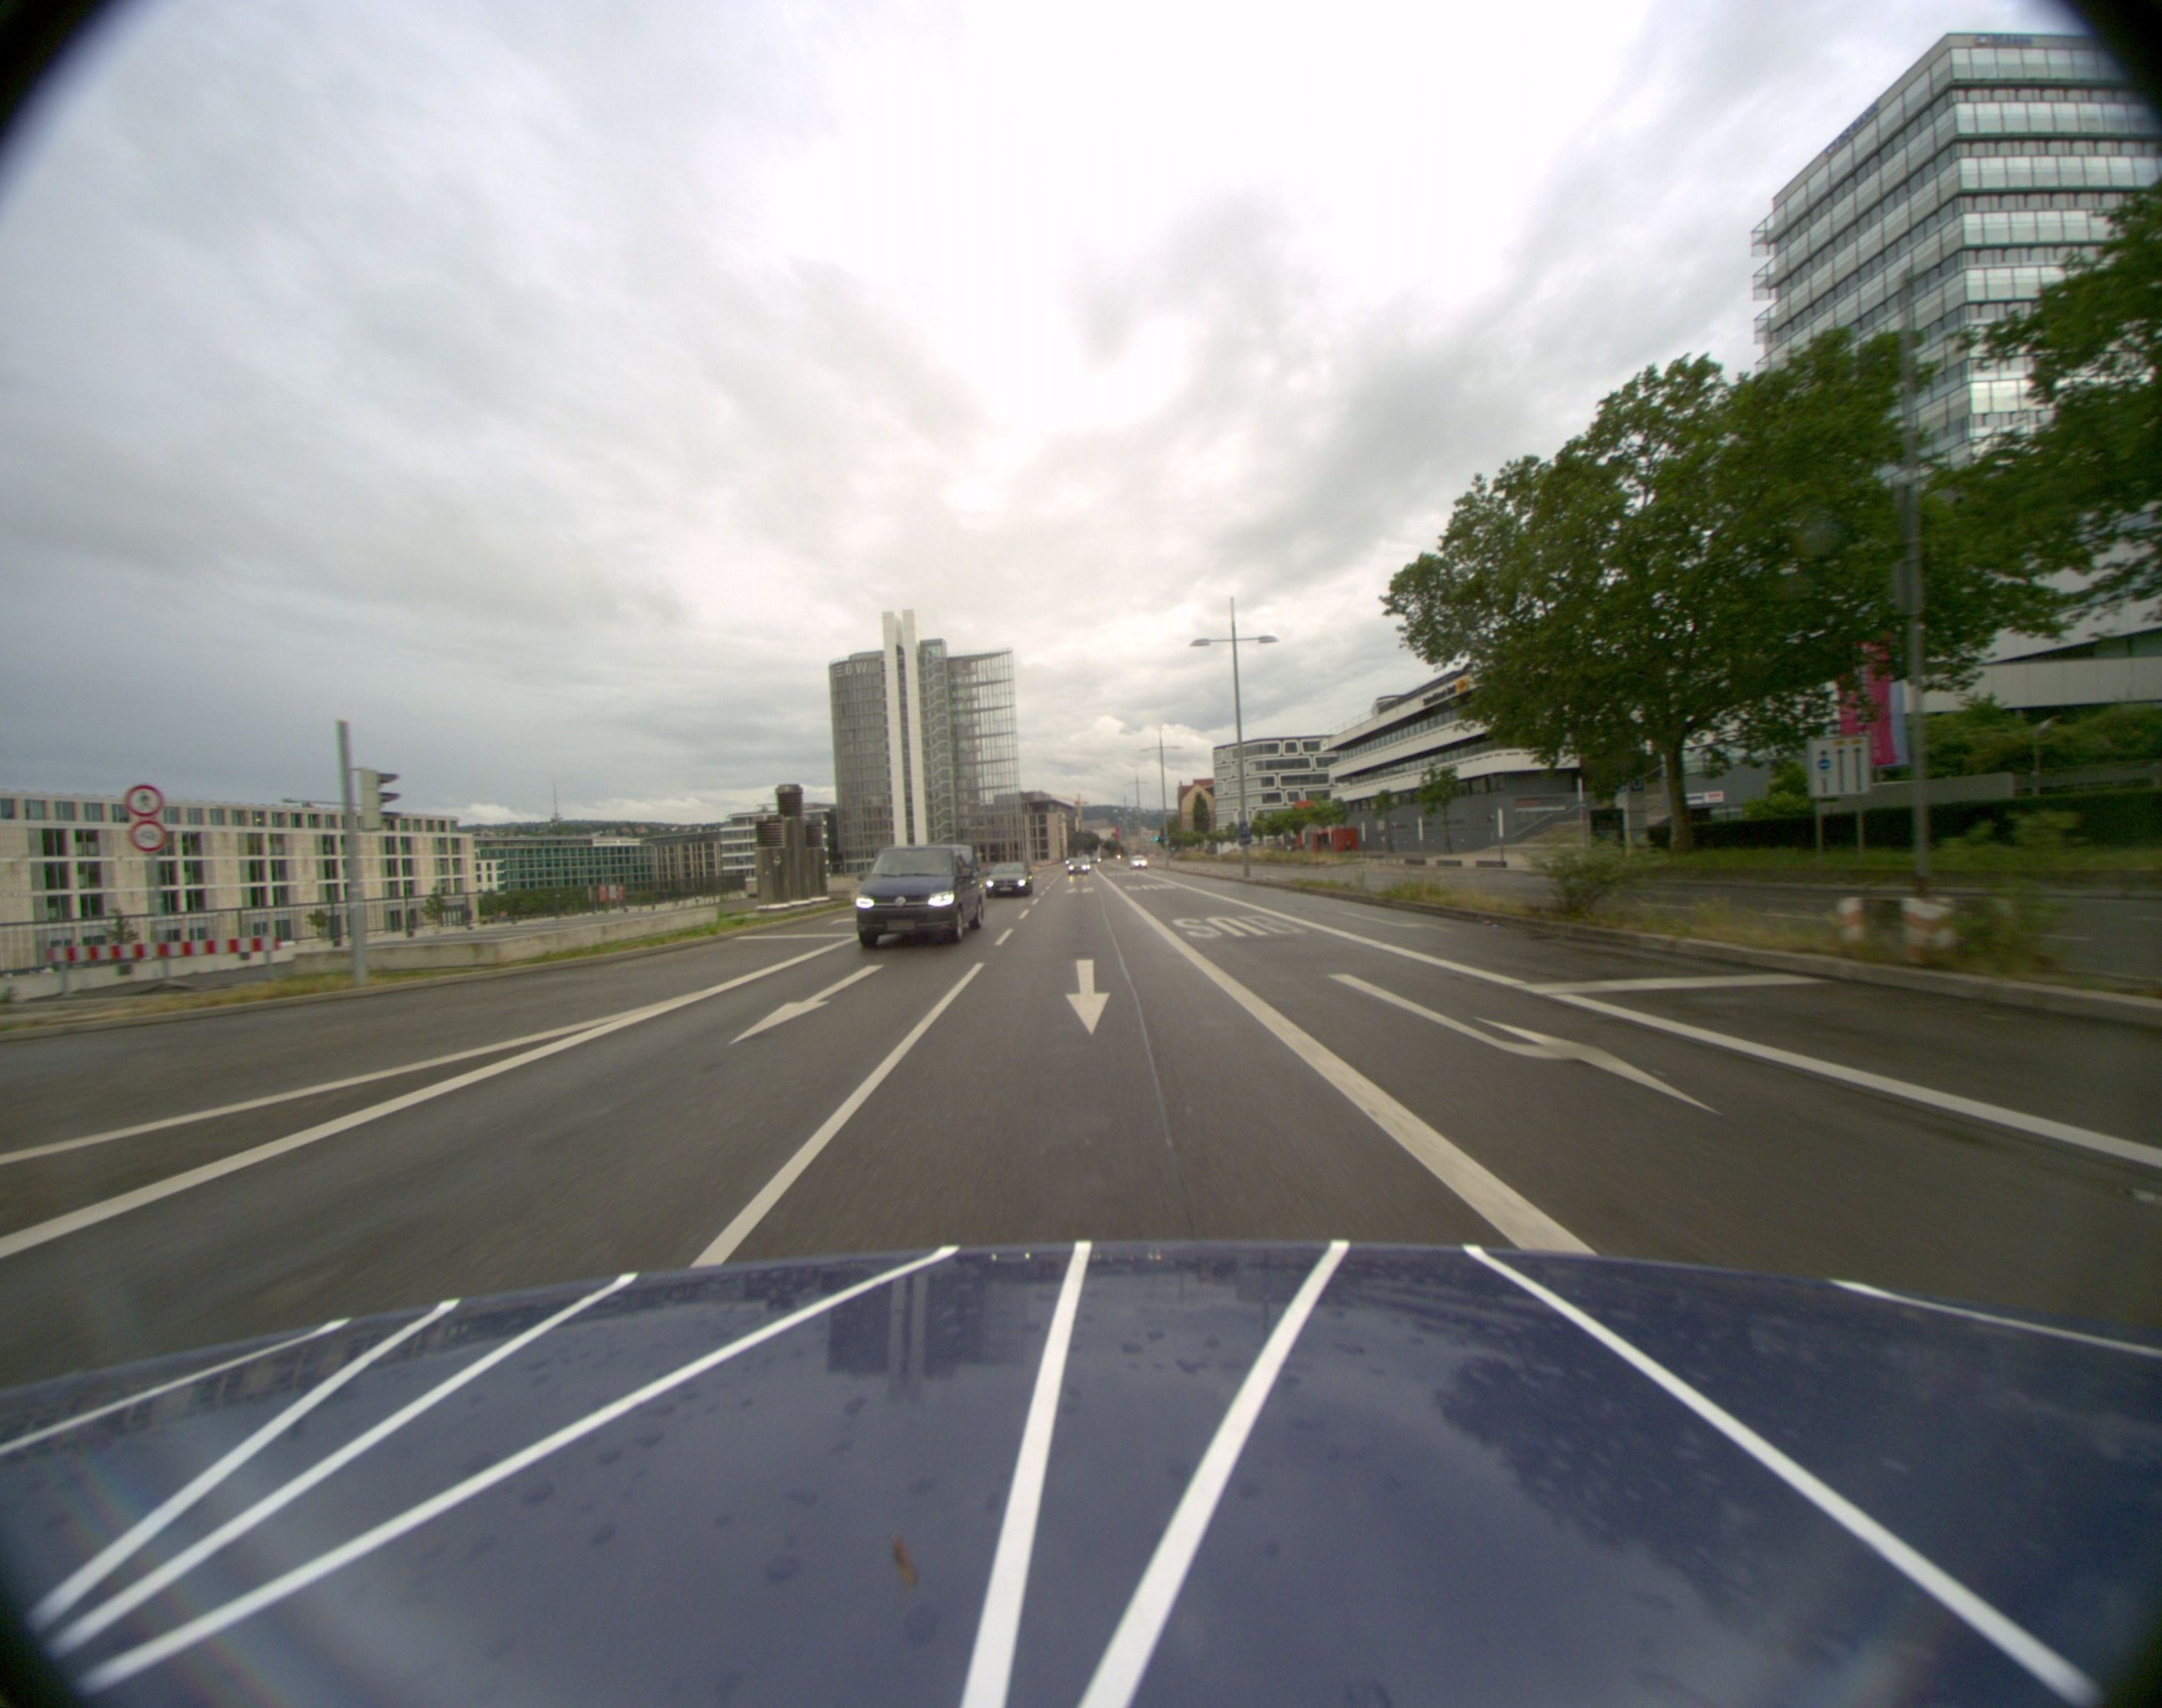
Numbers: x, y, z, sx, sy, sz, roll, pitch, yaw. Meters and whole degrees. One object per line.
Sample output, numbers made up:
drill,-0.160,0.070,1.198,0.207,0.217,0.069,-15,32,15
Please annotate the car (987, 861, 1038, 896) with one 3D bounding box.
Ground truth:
car,-2.871,1.002,32.685,1.727,1.368,4.155,-2,-1,0

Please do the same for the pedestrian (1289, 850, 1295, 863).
pedestrian,29.189,0.363,105.246,0.631,1.797,0.628,-2,1,1

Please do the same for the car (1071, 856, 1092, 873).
car,0.068,0.893,66.759,1.684,1.379,3.476,-2,1,1

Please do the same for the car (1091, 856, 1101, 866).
car,3.329,1.521,166.259,1.998,2.002,3.999,-2,1,0

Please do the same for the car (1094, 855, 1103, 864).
car,4.120,1.344,181.894,1.998,2.002,3.999,-2,1,0

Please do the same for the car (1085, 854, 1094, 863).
car,2.121,1.008,183.863,1.998,2.002,3.999,-2,1,0

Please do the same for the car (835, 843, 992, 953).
car,-3.299,0.758,16.150,2.038,1.871,5.041,-2,1,1

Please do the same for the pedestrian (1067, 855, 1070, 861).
pedestrian,-2.954,0.969,182.992,0.660,1.601,0.547,-3,0,7

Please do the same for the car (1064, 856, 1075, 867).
car,-2.266,1.433,146.036,1.998,1.827,3.999,-2,1,0

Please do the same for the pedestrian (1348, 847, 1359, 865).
pedestrian,27.611,0.231,77.000,0.786,1.797,0.628,-2,1,1

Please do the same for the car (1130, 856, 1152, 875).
car,6.468,1.247,82.786,1.971,1.816,3.927,-3,1,-1

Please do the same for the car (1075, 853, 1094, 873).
car,0.375,0.959,84.912,1.998,2.002,3.999,-2,1,0

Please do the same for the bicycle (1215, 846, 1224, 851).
bicycle,24.931,-0.978,136.831,0.610,0.852,1.653,-3,1,-32
